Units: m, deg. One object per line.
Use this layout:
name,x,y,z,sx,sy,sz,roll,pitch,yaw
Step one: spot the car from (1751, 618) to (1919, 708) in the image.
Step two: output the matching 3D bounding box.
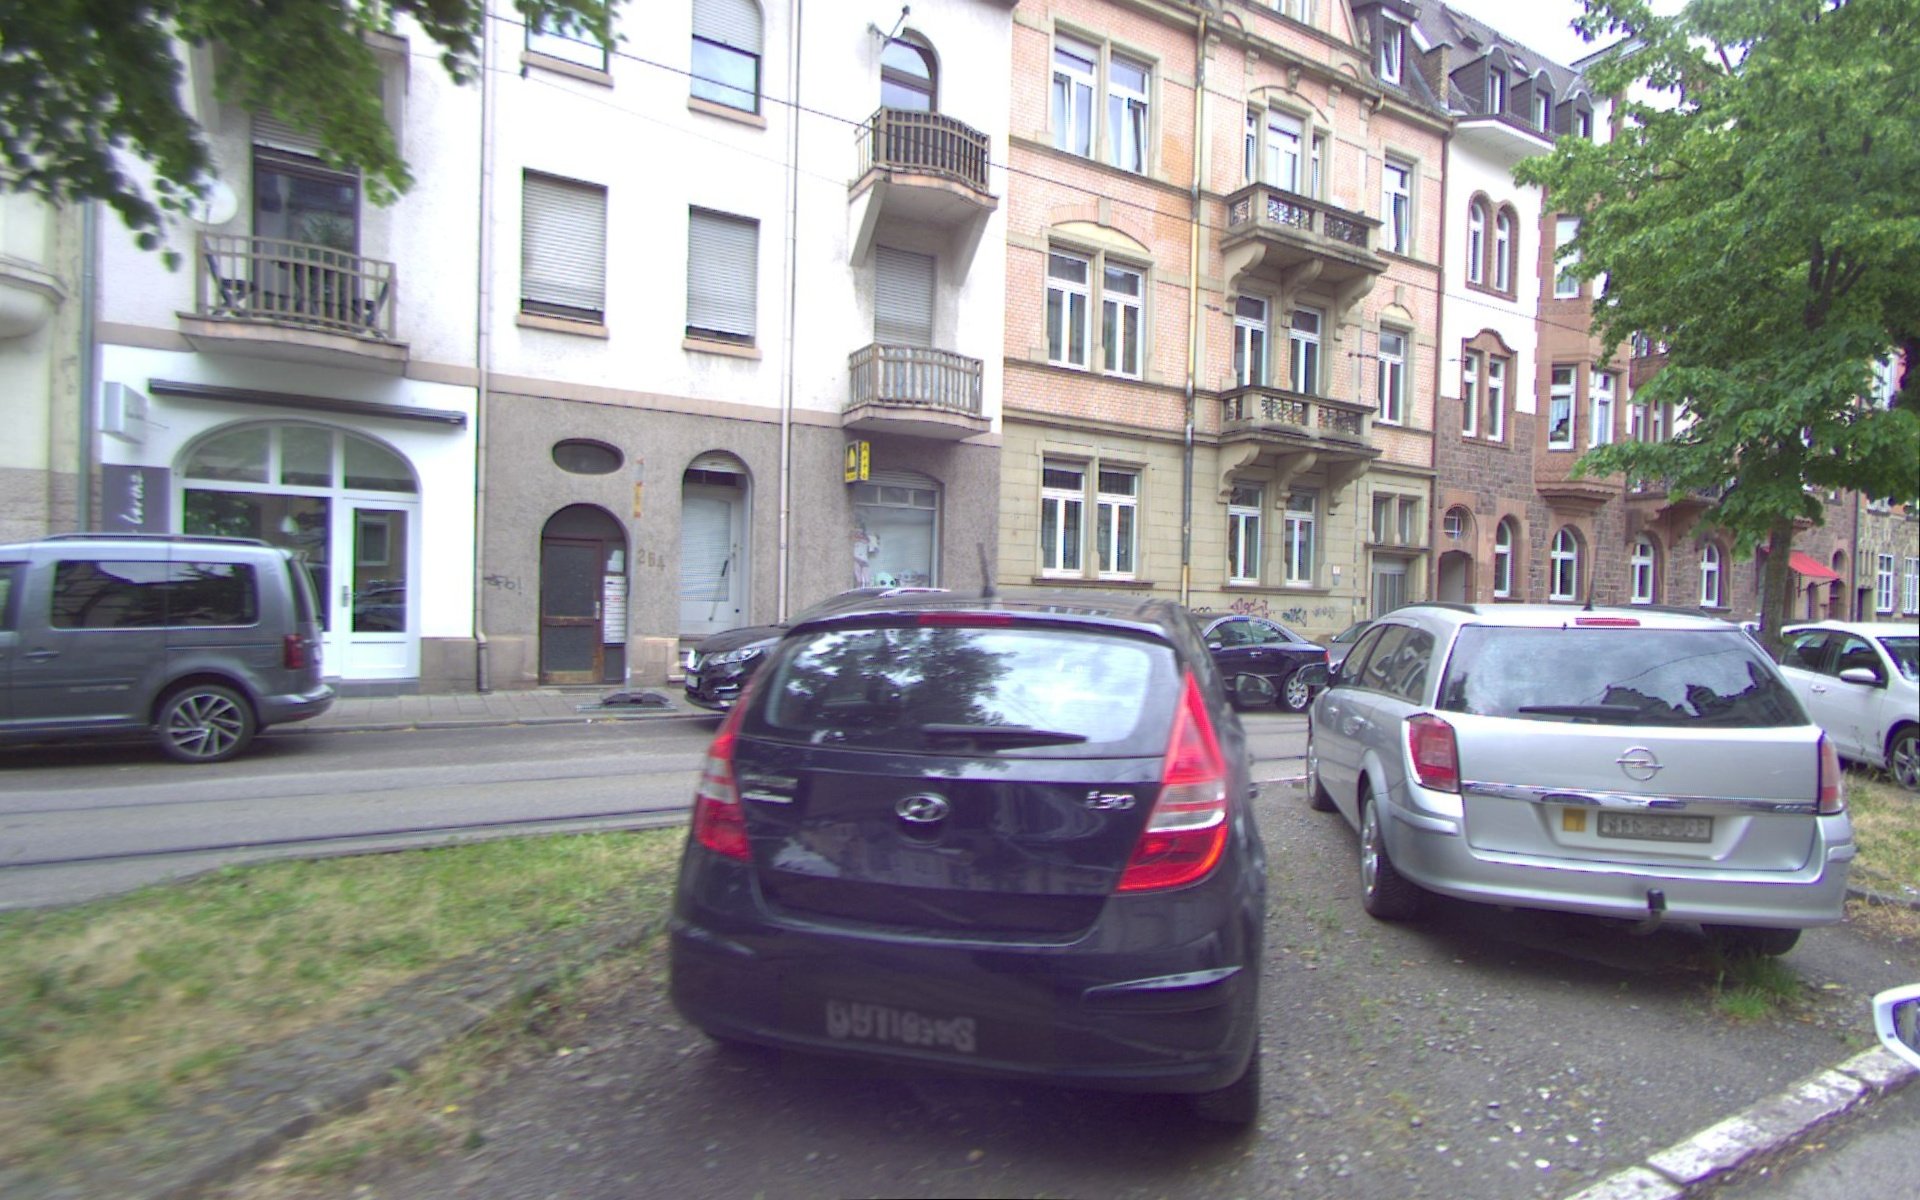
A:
car,17.135,1.150,19.064,4.599,1.472,1.796,2,0,-31

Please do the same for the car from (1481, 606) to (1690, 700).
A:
car,12.509,1.031,20.022,4.271,1.650,1.760,2,0,-31

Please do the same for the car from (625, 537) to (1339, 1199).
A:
car,0.495,0.611,4.360,1.740,1.505,4.001,2,1,15

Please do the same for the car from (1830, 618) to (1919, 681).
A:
car,26.238,1.368,27.944,4.501,1.562,1.731,2,0,-31

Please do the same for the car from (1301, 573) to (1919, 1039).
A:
car,3.081,0.692,5.807,1.826,1.513,4.566,2,1,16

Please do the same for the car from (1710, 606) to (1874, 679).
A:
car,20.835,1.056,25.105,4.501,1.648,1.731,2,0,-31

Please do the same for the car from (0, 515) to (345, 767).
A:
car,-7.733,0.299,8.326,4.378,1.895,1.842,1,0,-30

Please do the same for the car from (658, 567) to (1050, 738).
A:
car,-1.193,0.567,11.881,4.224,1.702,1.796,2,0,-31

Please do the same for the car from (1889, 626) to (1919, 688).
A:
car,30.743,1.769,30.884,5.059,1.805,1.804,2,0,-31

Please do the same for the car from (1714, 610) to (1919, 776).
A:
car,9.310,0.830,9.646,1.826,1.329,4.131,2,1,15

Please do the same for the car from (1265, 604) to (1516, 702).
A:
car,7.365,0.871,17.090,4.181,1.457,1.796,2,0,-31

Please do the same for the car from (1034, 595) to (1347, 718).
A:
car,3.375,0.767,14.451,4.337,1.509,1.796,2,0,-31

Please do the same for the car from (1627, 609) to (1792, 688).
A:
car,16.693,1.055,22.348,3.680,1.580,1.653,2,0,-31
